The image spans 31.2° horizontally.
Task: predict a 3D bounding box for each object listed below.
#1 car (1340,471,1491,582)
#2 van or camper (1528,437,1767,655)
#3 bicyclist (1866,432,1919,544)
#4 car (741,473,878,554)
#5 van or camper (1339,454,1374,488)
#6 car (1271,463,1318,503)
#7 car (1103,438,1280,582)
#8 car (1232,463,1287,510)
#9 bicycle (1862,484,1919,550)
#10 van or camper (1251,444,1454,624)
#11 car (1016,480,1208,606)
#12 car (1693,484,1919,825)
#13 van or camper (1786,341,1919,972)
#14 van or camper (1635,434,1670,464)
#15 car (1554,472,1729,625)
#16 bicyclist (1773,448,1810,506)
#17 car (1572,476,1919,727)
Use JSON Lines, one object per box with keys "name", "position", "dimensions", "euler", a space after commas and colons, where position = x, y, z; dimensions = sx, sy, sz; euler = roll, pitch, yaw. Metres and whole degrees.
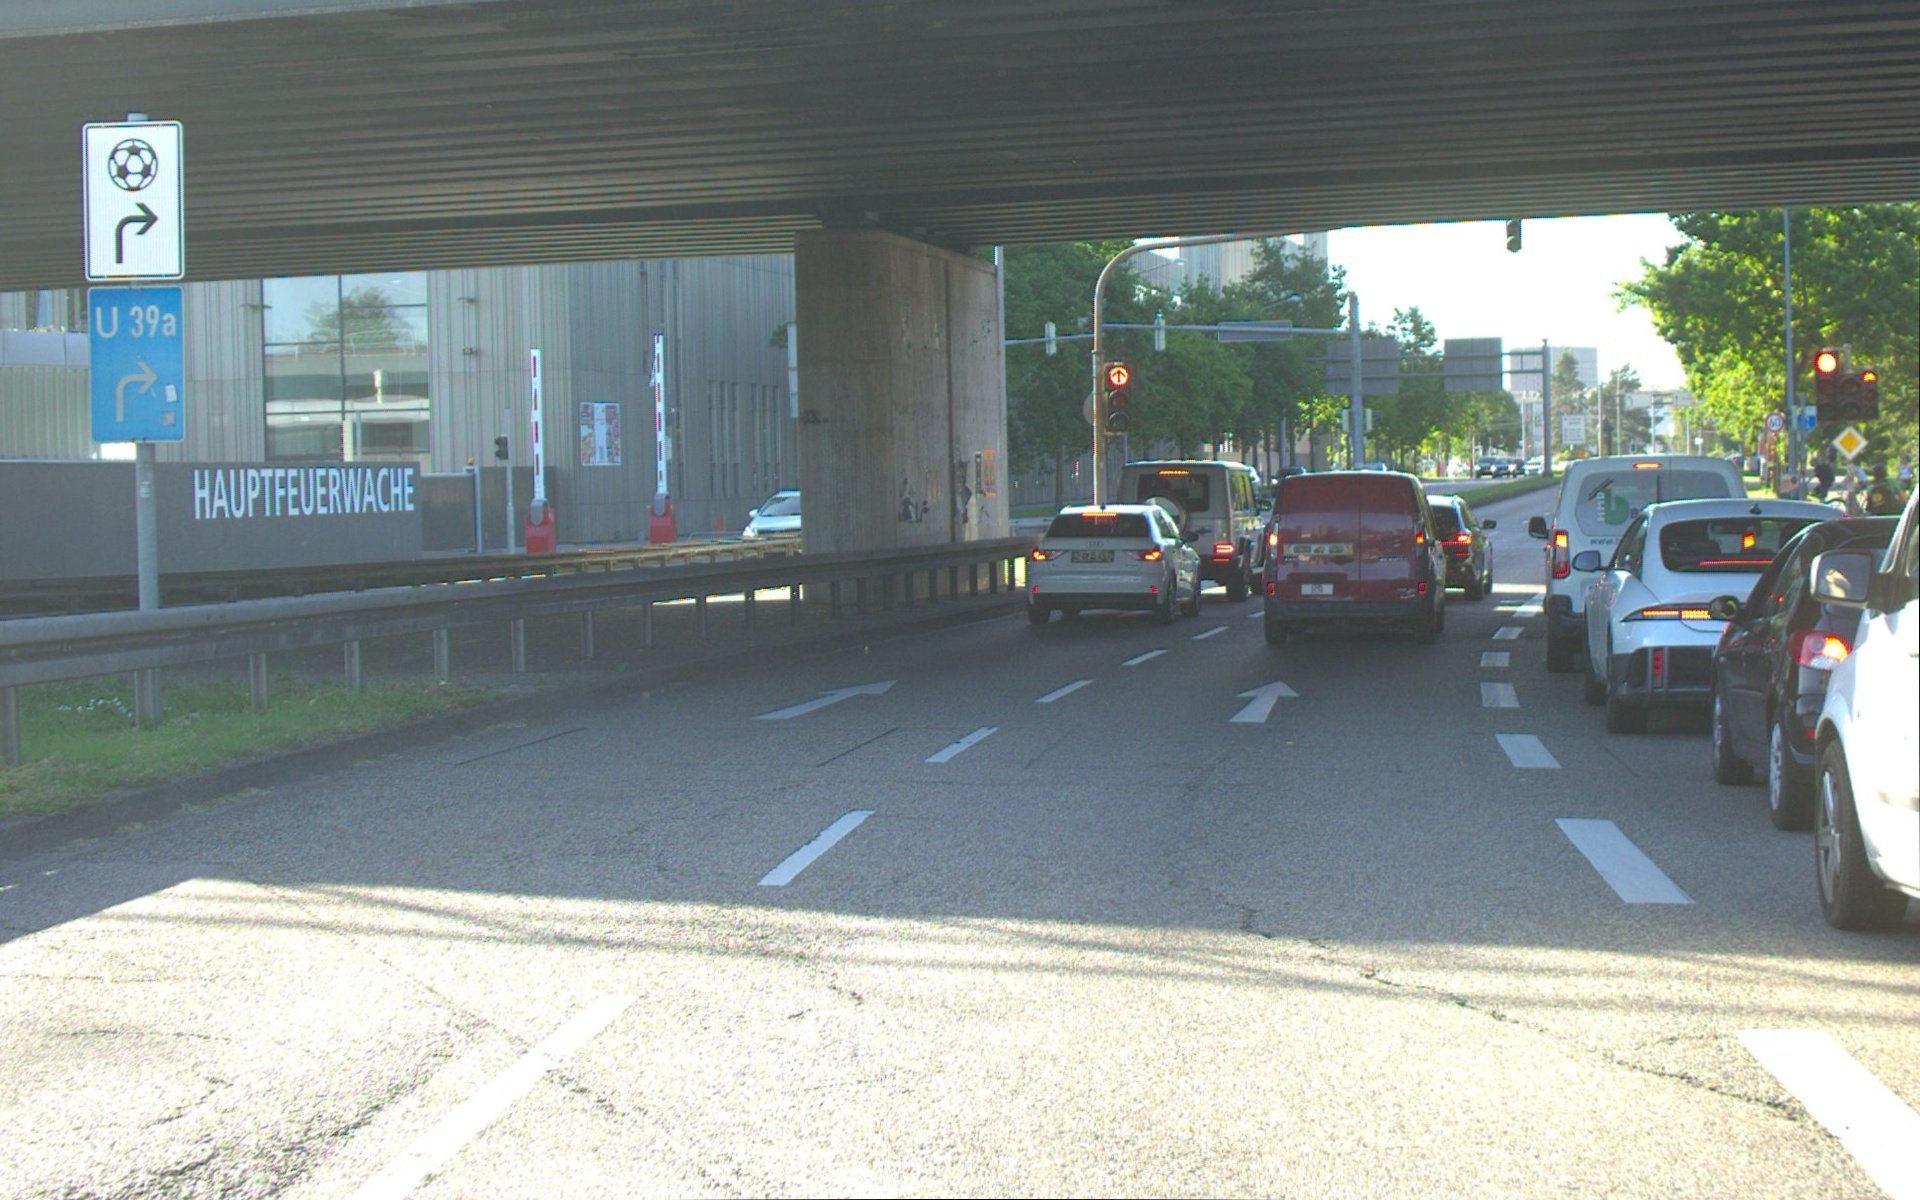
{"name": "car", "position": [6.494, -1.059, 48.683], "dimensions": [1.764, 1.470, 4.287], "euler": [-1, 2, 12]}
{"name": "van or camper", "position": [6.025, -0.514, 30.557], "dimensions": [1.826, 1.785, 4.544], "euler": [0, 2, 8]}
{"name": "bicyclist", "position": [13.646, -1.629, 50.012], "dimensions": [0.751, 1.578, 0.925], "euler": [-3, 1, 11]}
{"name": "car", "position": [-3.094, -1.808, 71.612], "dimensions": [1.784, 1.639, 4.199], "euler": [0, 2, 13]}
{"name": "van or camper", "position": [23.638, -7.678, 204.877], "dimensions": [1.786, 1.857, 3.907], "euler": [-3, 1, 10]}
{"name": "car", "position": [16.571, -5.782, 170.366], "dimensions": [1.786, 1.857, 3.906], "euler": [-3, 1, 12]}
{"name": "car", "position": [3.362, -1.305, 49.201], "dimensions": [1.867, 1.940, 4.594], "euler": [0, 2, 12]}
{"name": "car", "position": [12.718, -4.806, 145.784], "dimensions": [1.786, 1.857, 3.943], "euler": [-3, 1, 12]}
{"name": "bicycle", "position": [13.609, -1.214, 49.916], "dimensions": [0.772, 0.890, 1.996], "euler": [-3, 1, 10]}
{"name": "van or camper", "position": [4.248, -0.727, 36.733], "dimensions": [1.755, 1.807, 3.957], "euler": [0, 2, 12]}
{"name": "car", "position": [1.895, -0.726, 41.811], "dimensions": [1.709, 1.447, 3.741], "euler": [0, 2, 12]}
{"name": "car", "position": [4.534, 0.177, 16.570], "dimensions": [1.604, 1.429, 3.678], "euler": [0, 3, 7]}
{"name": "van or camper", "position": [3.823, 0.178, 9.950], "dimensions": [1.958, 1.877, 4.879], "euler": [0, 2, 4]}
{"name": "van or camper", "position": [47.181, -10.276, 234.090], "dimensions": [1.787, 1.857, 3.905], "euler": [-3, 1, 18]}
{"name": "car", "position": [7.218, -0.580, 36.282], "dimensions": [1.709, 1.517, 3.741], "euler": [0, 2, 12]}
{"name": "bicyclist", "position": [23.503, -3.488, 97.171], "dimensions": [0.923, 1.578, 0.769], "euler": [-3, 1, 16]}
{"name": "car", "position": [5.092, -0.048, 22.765], "dimensions": [1.764, 1.470, 4.288], "euler": [-1, 2, 7]}
